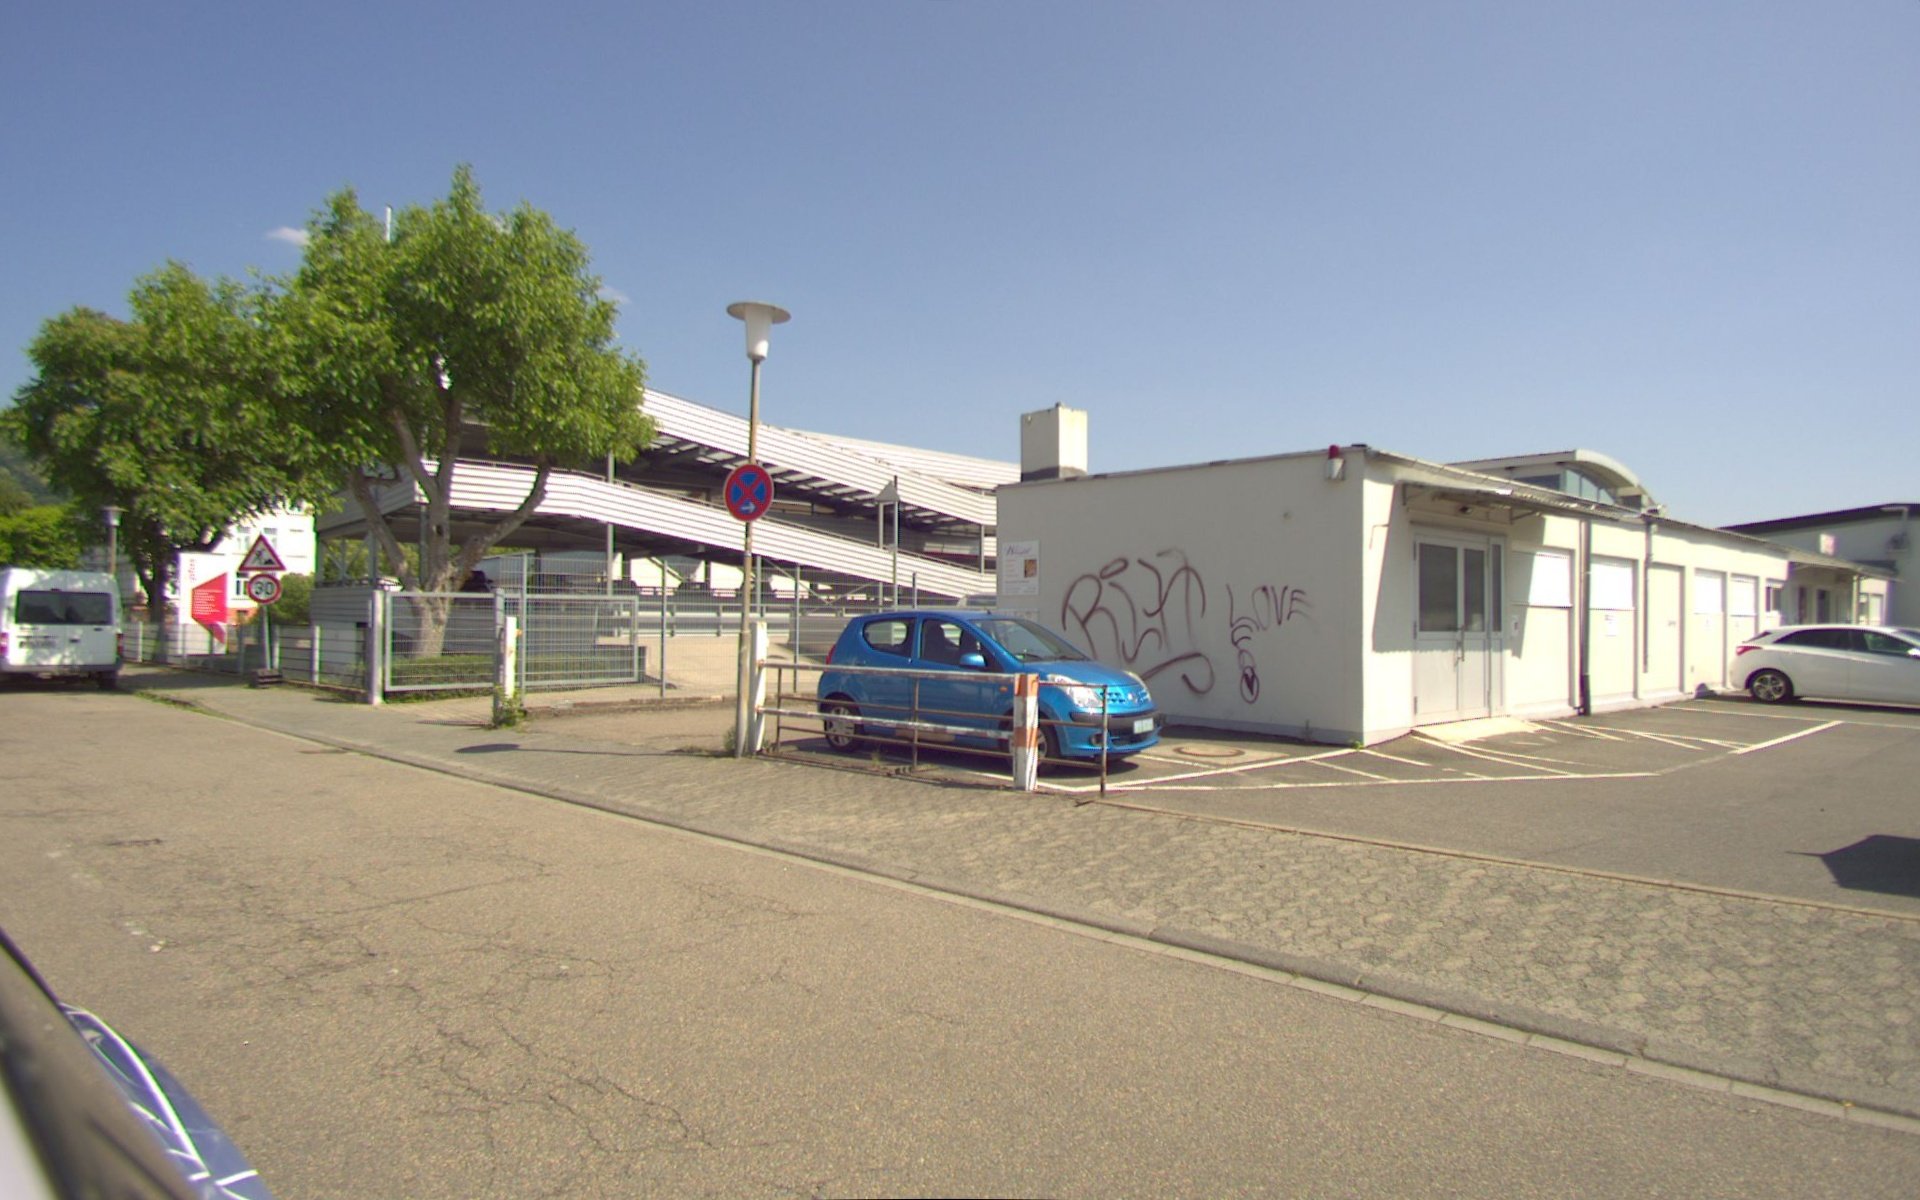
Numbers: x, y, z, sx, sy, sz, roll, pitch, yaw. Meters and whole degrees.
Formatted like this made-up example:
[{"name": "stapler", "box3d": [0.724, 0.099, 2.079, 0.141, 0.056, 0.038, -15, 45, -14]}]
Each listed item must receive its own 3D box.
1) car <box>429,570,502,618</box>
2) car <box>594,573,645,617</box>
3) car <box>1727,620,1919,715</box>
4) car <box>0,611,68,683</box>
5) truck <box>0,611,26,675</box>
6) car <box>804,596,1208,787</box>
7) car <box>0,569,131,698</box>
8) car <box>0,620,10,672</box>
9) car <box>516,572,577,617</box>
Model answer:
[{"name": "car", "box3d": [-18.518, -0.246, 38.052, 1.787, 1.684, 4.012, 1, 1, -16]}, {"name": "car", "box3d": [-14.163, -0.242, 42.253, 1.787, 1.684, 4.012, 1, 1, -16]}, {"name": "car", "box3d": [16.215, 1.154, 17.636, 1.791, 1.542, 4.235, 3, -2, -38]}, {"name": "car", "box3d": [-23.308, 1.082, 24.507, 3.965, 1.636, 1.689, 0, -3, 36]}, {"name": "truck", "box3d": [-25.989, 1.114, 26.922, 3.137, 1.634, 1.127, -1, -4, 38]}, {"name": "car", "box3d": [0.370, 0.786, 10.047, 3.671, 1.542, 1.796, -1, -3, 39]}, {"name": "car", "box3d": [-19.274, 0.676, 21.082, 5.223, 2.384, 1.985, -1, -3, 39]}, {"name": "car", "box3d": [-29.590, 1.311, 29.857, 4.109, 1.474, 1.688, 0, -3, 39]}, {"name": "car", "box3d": [-16.300, -0.246, 40.080, 1.787, 1.684, 4.012, 1, 1, -16]}]
